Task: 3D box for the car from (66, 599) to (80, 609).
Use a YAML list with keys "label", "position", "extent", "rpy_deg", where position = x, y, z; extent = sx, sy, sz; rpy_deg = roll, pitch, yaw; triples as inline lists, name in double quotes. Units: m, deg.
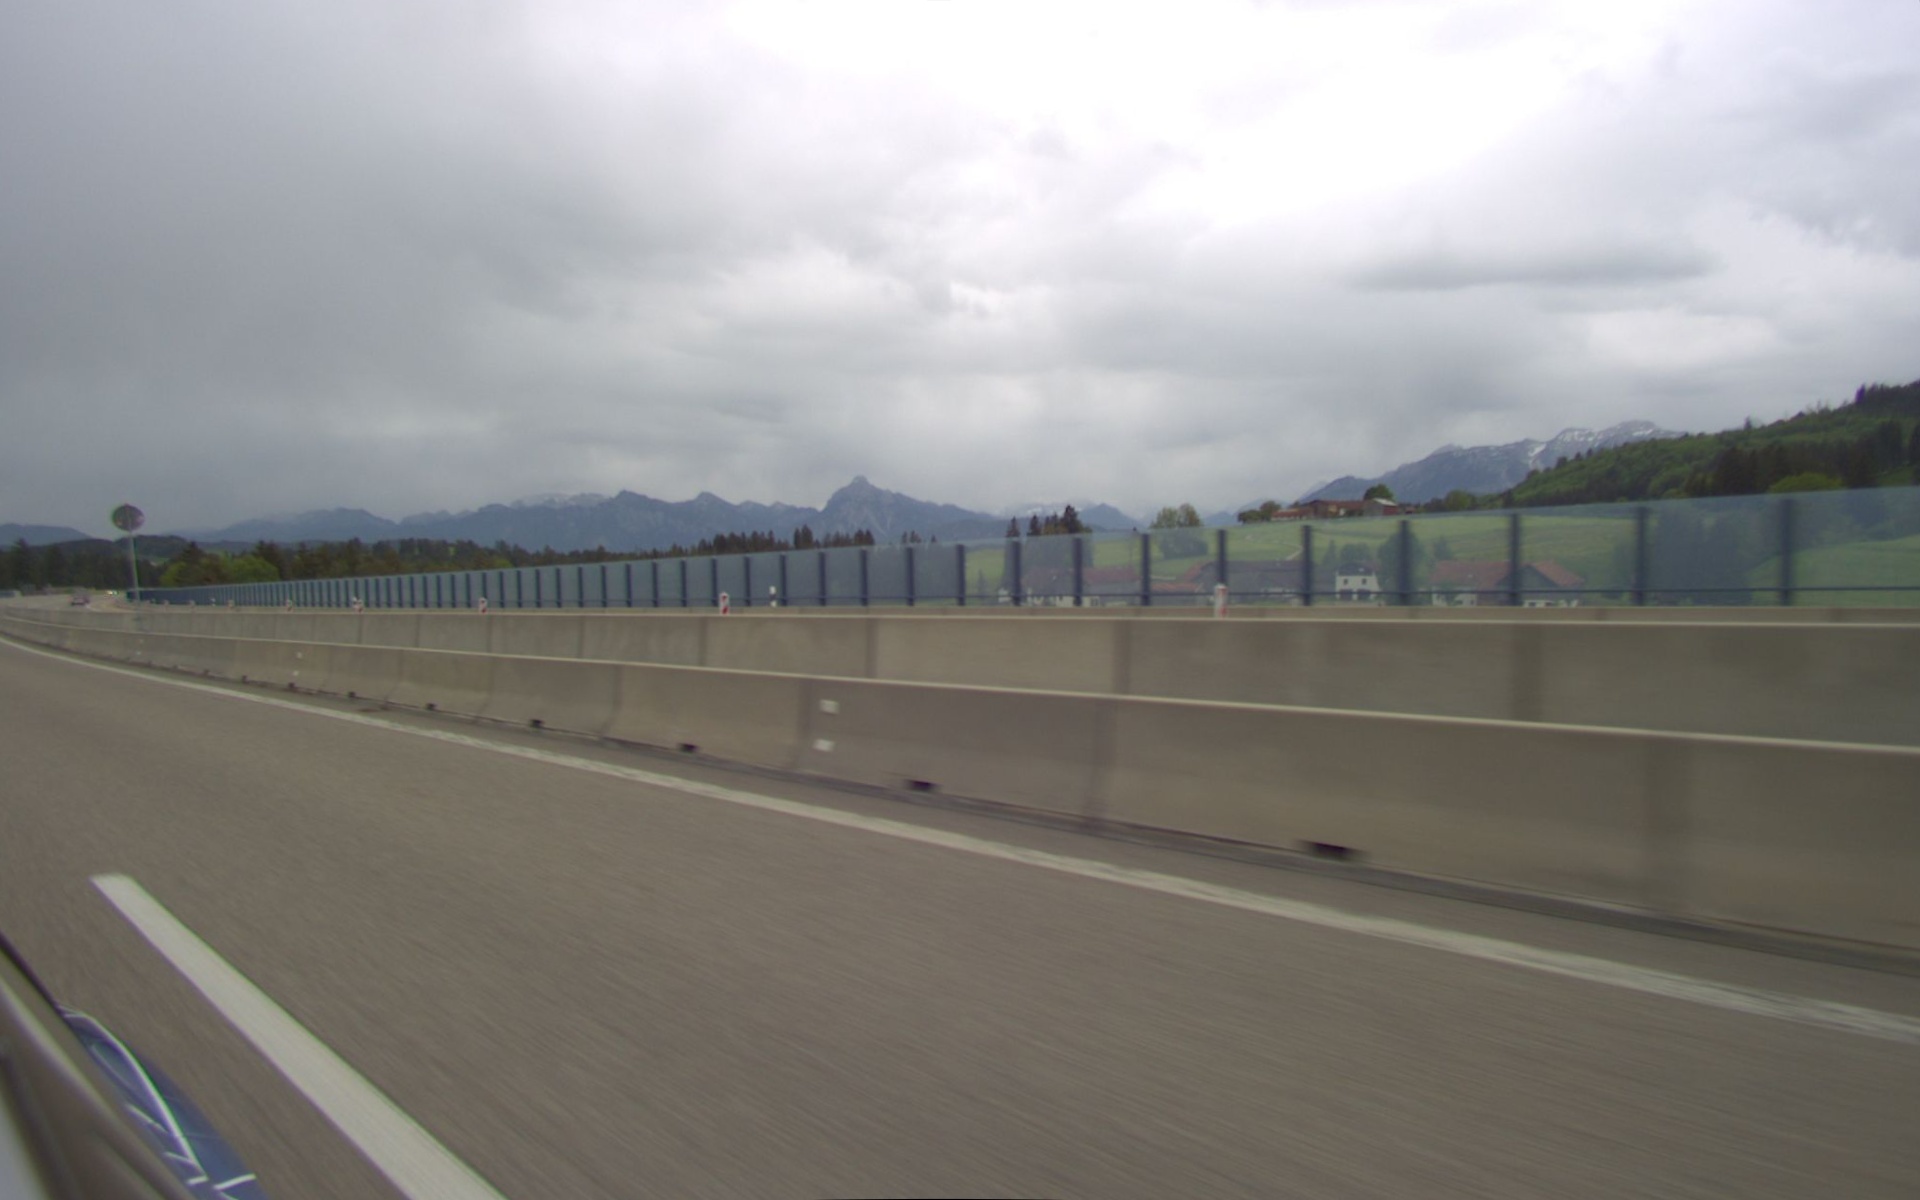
- label: "car"
  position: [-157.521, 0.796, 179.719]
  extent: [1.869, 1.763, 4.139]
  rpy_deg: [0, 0, -41]
